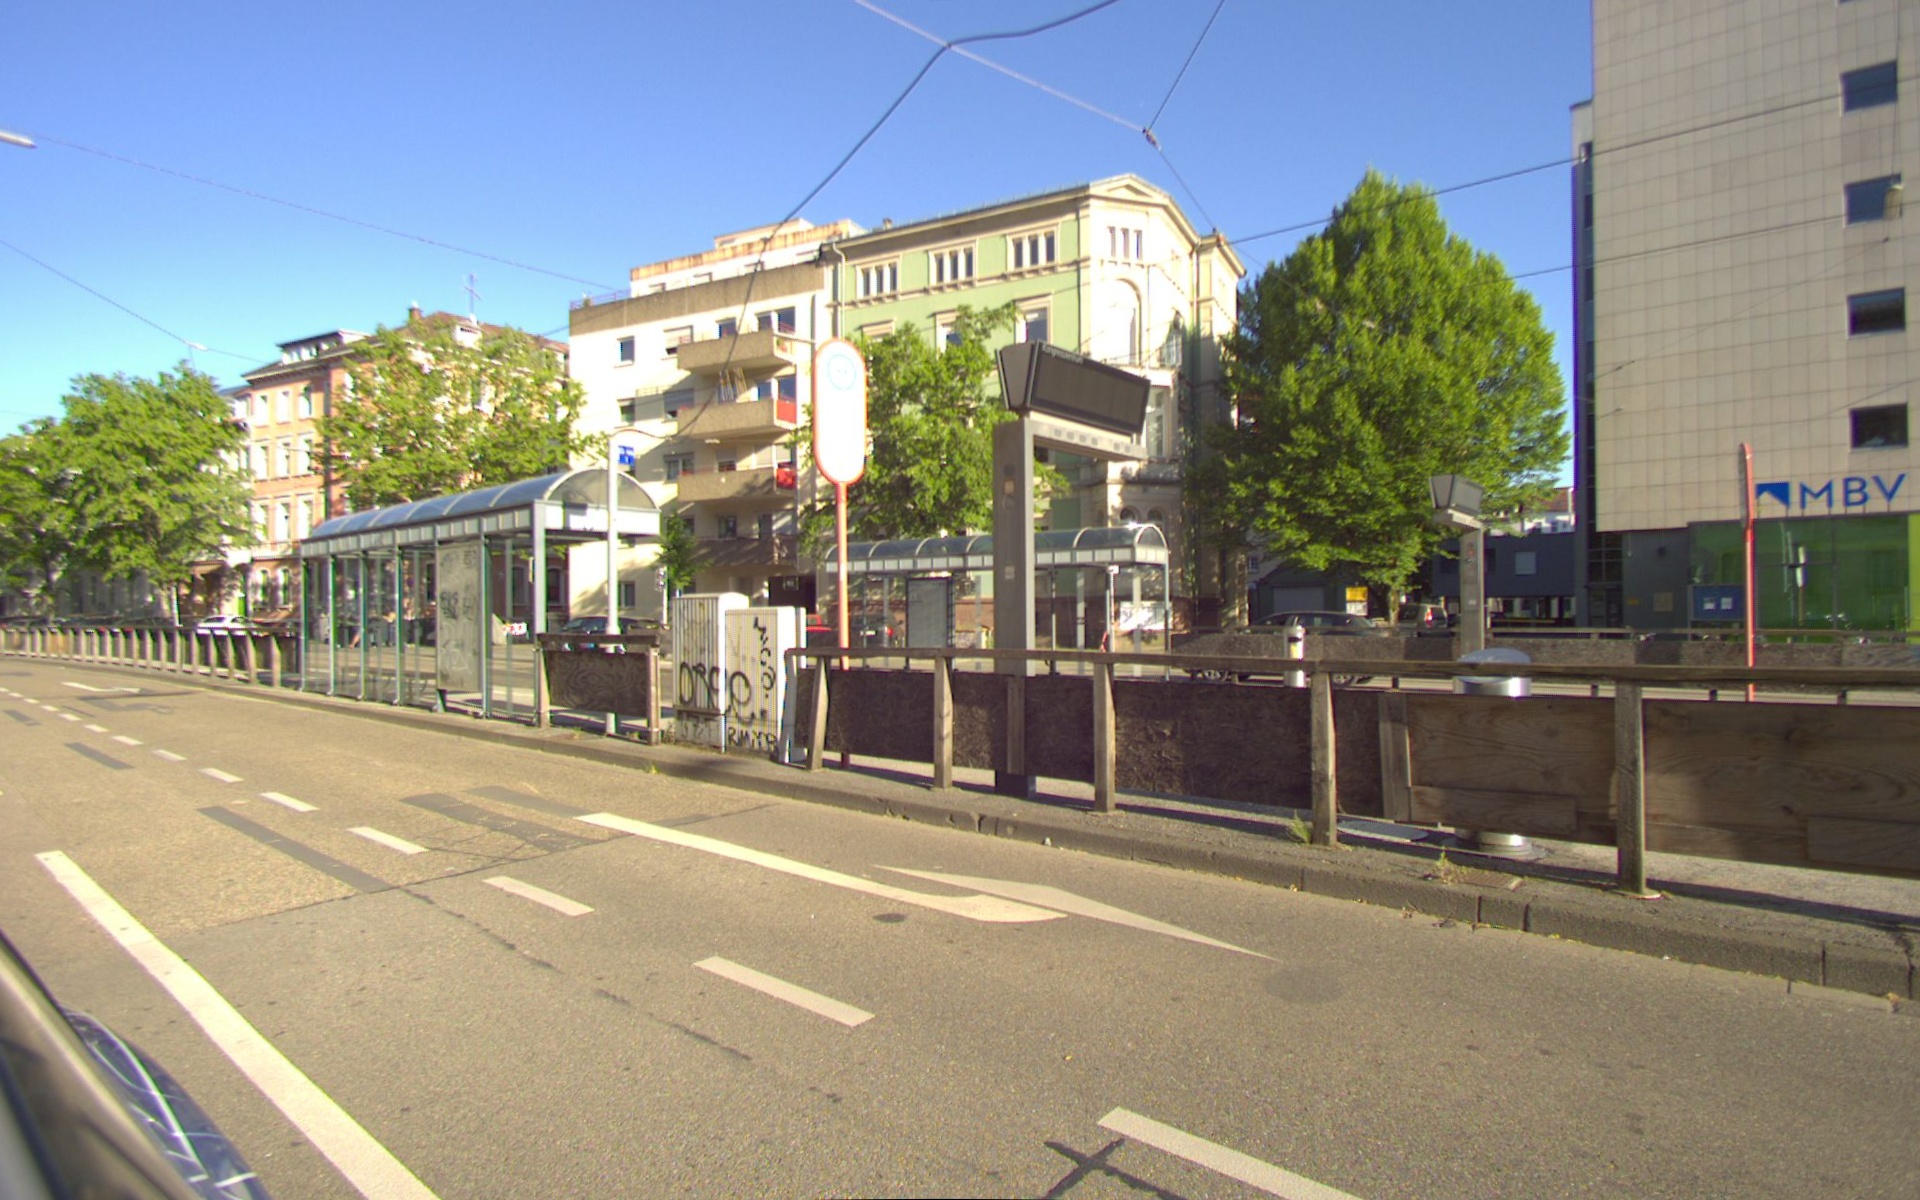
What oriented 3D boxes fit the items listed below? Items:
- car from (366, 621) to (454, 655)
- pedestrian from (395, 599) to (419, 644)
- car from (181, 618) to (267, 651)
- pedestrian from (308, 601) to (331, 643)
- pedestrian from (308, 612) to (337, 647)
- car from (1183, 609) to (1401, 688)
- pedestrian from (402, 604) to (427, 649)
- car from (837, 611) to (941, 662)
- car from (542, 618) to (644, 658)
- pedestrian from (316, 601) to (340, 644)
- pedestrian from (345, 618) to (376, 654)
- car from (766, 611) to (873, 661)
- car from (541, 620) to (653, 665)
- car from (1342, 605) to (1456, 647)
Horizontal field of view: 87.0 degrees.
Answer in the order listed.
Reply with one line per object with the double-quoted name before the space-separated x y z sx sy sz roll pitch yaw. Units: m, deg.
"car" -23.811 1.623 43.773 3.986 1.407 1.592 -1 -2 32
"pedestrian" -27.796 1.087 50.871 0.753 2.224 0.804 -1 -2 30
"car" -39.458 1.837 54.382 1.825 1.721 4.130 0 -1 -5
"pedestrian" -34.116 1.169 53.900 0.755 2.224 0.803 -1 -2 36
"pedestrian" -31.844 1.478 50.564 1.016 1.733 0.846 -1 -2 32
"car" 6.820 0.956 20.941 3.990 1.500 1.629 -1 -2 35
"pedestrian" -27.058 1.307 50.176 0.753 2.224 0.804 -1 -2 30
"car" -2.283 1.174 33.554 1.754 1.594 3.965 -1 -1 26
"car" -13.978 1.427 38.491 3.725 1.438 1.637 -1 -1 29
"pedestrian" -33.033 1.155 52.915 0.753 2.224 0.804 -1 -2 30
"pedestrian" -27.400 1.631 46.271 0.879 1.641 0.869 0 -1 -1
"car" -4.717 1.206 34.602 1.754 1.594 3.965 -1 -1 26
"car" -12.289 1.408 34.177 3.870 1.419 1.650 -1 -2 35
"car" 15.772 0.900 36.462 1.544 1.423 3.430 -1 0 -38
